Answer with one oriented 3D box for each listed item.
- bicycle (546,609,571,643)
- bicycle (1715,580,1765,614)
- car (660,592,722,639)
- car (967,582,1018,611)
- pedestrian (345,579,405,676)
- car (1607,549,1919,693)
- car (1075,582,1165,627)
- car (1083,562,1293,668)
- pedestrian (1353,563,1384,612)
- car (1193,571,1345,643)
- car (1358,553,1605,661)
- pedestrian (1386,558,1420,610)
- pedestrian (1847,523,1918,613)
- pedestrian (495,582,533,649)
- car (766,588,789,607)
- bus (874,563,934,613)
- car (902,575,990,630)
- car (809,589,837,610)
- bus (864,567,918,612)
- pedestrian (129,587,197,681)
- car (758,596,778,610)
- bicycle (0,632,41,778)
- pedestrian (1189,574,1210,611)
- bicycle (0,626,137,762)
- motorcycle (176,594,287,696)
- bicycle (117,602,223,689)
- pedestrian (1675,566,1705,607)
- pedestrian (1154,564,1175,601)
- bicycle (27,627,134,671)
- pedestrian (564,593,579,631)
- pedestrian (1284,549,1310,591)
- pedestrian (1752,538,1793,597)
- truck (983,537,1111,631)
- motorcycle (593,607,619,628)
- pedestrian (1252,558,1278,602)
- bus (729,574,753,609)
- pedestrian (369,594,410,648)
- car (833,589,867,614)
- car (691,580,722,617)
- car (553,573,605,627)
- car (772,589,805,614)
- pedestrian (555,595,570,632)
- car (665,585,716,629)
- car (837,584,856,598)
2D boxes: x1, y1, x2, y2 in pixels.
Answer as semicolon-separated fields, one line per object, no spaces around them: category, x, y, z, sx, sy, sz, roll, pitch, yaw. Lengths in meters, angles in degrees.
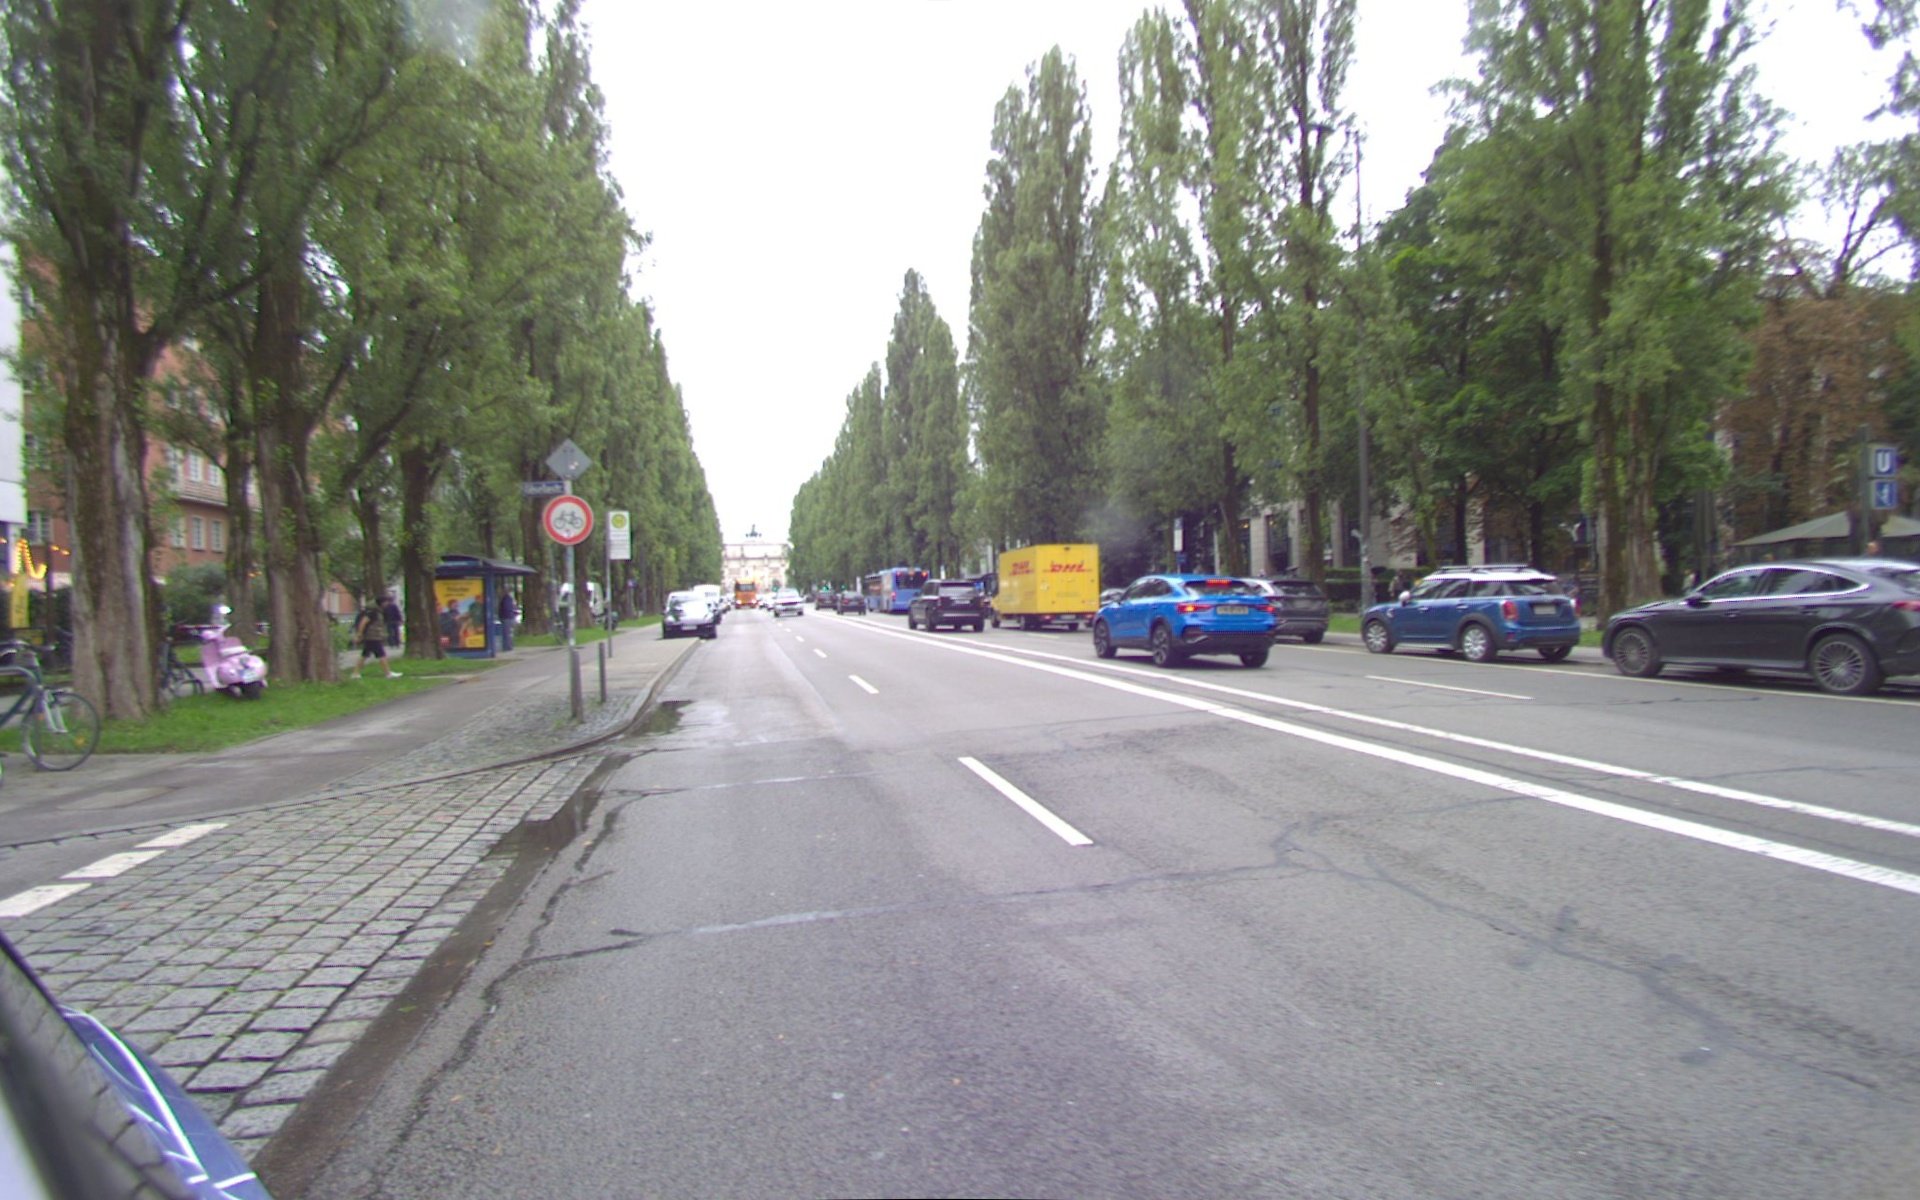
bicycle;-13.096;0.847;33.052;0.544;1.030;1.768;-2;1;-16
bicycle;19.408;-0.079;25.184;1.014;0.804;0.325;-2;1;-4
car;-9.960;0.522;37.736;1.979;1.592;4.010;-2;1;-12
car;1.704;-0.188;53.750;1.764;1.422;3.891;-2;1;-12
pedestrian;-10.995;0.505;19.040;0.740;1.786;0.707;-1;0;-8
car;10.812;0.183;12.731;1.764;1.540;4.526;-2;1;-12
car;5.564;0.142;35.657;1.764;1.422;3.891;-2;1;-12
car;3.775;0.201;17.687;1.841;1.591;4.434;-1;1;-13
pedestrian;14.559;-0.443;36.090;0.697;1.726;0.733;-2;1;-11
car;7.691;0.140;25.643;1.764;1.612;4.247;-2;1;-12
car;9.393;0.090;18.637;1.763;1.745;4.089;-1;1;-14
pedestrian;15.090;-0.548;34.491;0.697;1.726;0.733;-2;1;-11
pedestrian;18.092;-0.625;19.863;0.697;1.726;0.733;-2;1;-11
pedestrian;-12.719;0.421;28.861;0.875;1.857;0.770;-2;1;-20
car;-16.946;-0.247;93.709;1.979;1.592;4.010;-2;1;-12
bus;-3.914;-0.793;68.845;2.880;3.074;8.536;-2;1;-10
car;-0.591;0.061;35.775;1.966;1.762;5.078;-1;0;-14
car;-11.727;-0.051;86.384;1.967;1.735;4.827;-1;1;-12
bus;-5.318;-0.792;76.469;2.880;3.074;9.817;-2;1;-10
pedestrian;-15.000;0.628;19.051;0.724;1.705;0.648;-2;1;-8
car;-20.917;0.287;110.154;1.620;1.407;4.013;-2;1;-19
bicycle;-8.244;0.847;7.822;1.676;1.101;0.492;-2;1;-7
pedestrian;11.579;-0.371;48.937;0.697;1.726;0.733;-2;1;-11
bicycle;-8.433;0.831;8.824;1.953;1.101;0.492;-2;1;-7
motorcycle;-10.179;0.592;14.120;1.986;1.204;0.622;4;4;34
bicycle;-11.838;0.650;15.221;0.574;1.197;1.620;-2;1;-13
pedestrian;31.454;-0.570;43.631;0.719;1.726;0.711;-2;1;-15
pedestrian;9.949;-0.845;49.187;0.697;1.726;0.733;-2;1;-11
bicycle;-20.672;1.142;23.818;1.772;0.919;0.622;-2;1;-15
pedestrian;-17.867;0.560;46.560;0.509;1.705;0.487;-2;1;-8
pedestrian;14.012;-1.237;42.133;0.697;1.726;0.733;-2;1;-11
pedestrian;24.694;-0.988;30.754;0.892;1.726;0.727;-1;1;44
truck;2.901;-0.567;36.215;2.559;2.929;7.097;-2;1;-12
motorcycle;-16.510;0.815;47.177;0.460;0.945;1.663;-3;1;-45
pedestrian;12.325;-0.797;40.960;0.697;1.726;0.733;-2;1;-11
bus;-27.871;-1.015;128.621;2.606;4.143;9.821;-2;1;-13
pedestrian;-18.404;0.662;32.680;0.876;1.705;0.769;-2;1;-8
car;-7.187;0.068;65.850;1.819;1.538;3.761;-1;1;-11
car;-19.162;-0.157;76.708;1.979;2.651;6.015;-2;1;-13
car;-22.774;-0.021;60.637;2.163;3.039;6.017;-2;1;-14
car;-11.684;0.077;68.702;1.979;1.592;4.010;-3;1;-12
pedestrian;-18.267;0.615;46.505;0.509;1.705;0.487;-2;1;-8
car;-11.895;0.344;44.752;1.979;1.770;4.011;-3;-1;-14
car;-14.005;-1.109;124.816;1.967;1.735;4.359;-1;1;-12
